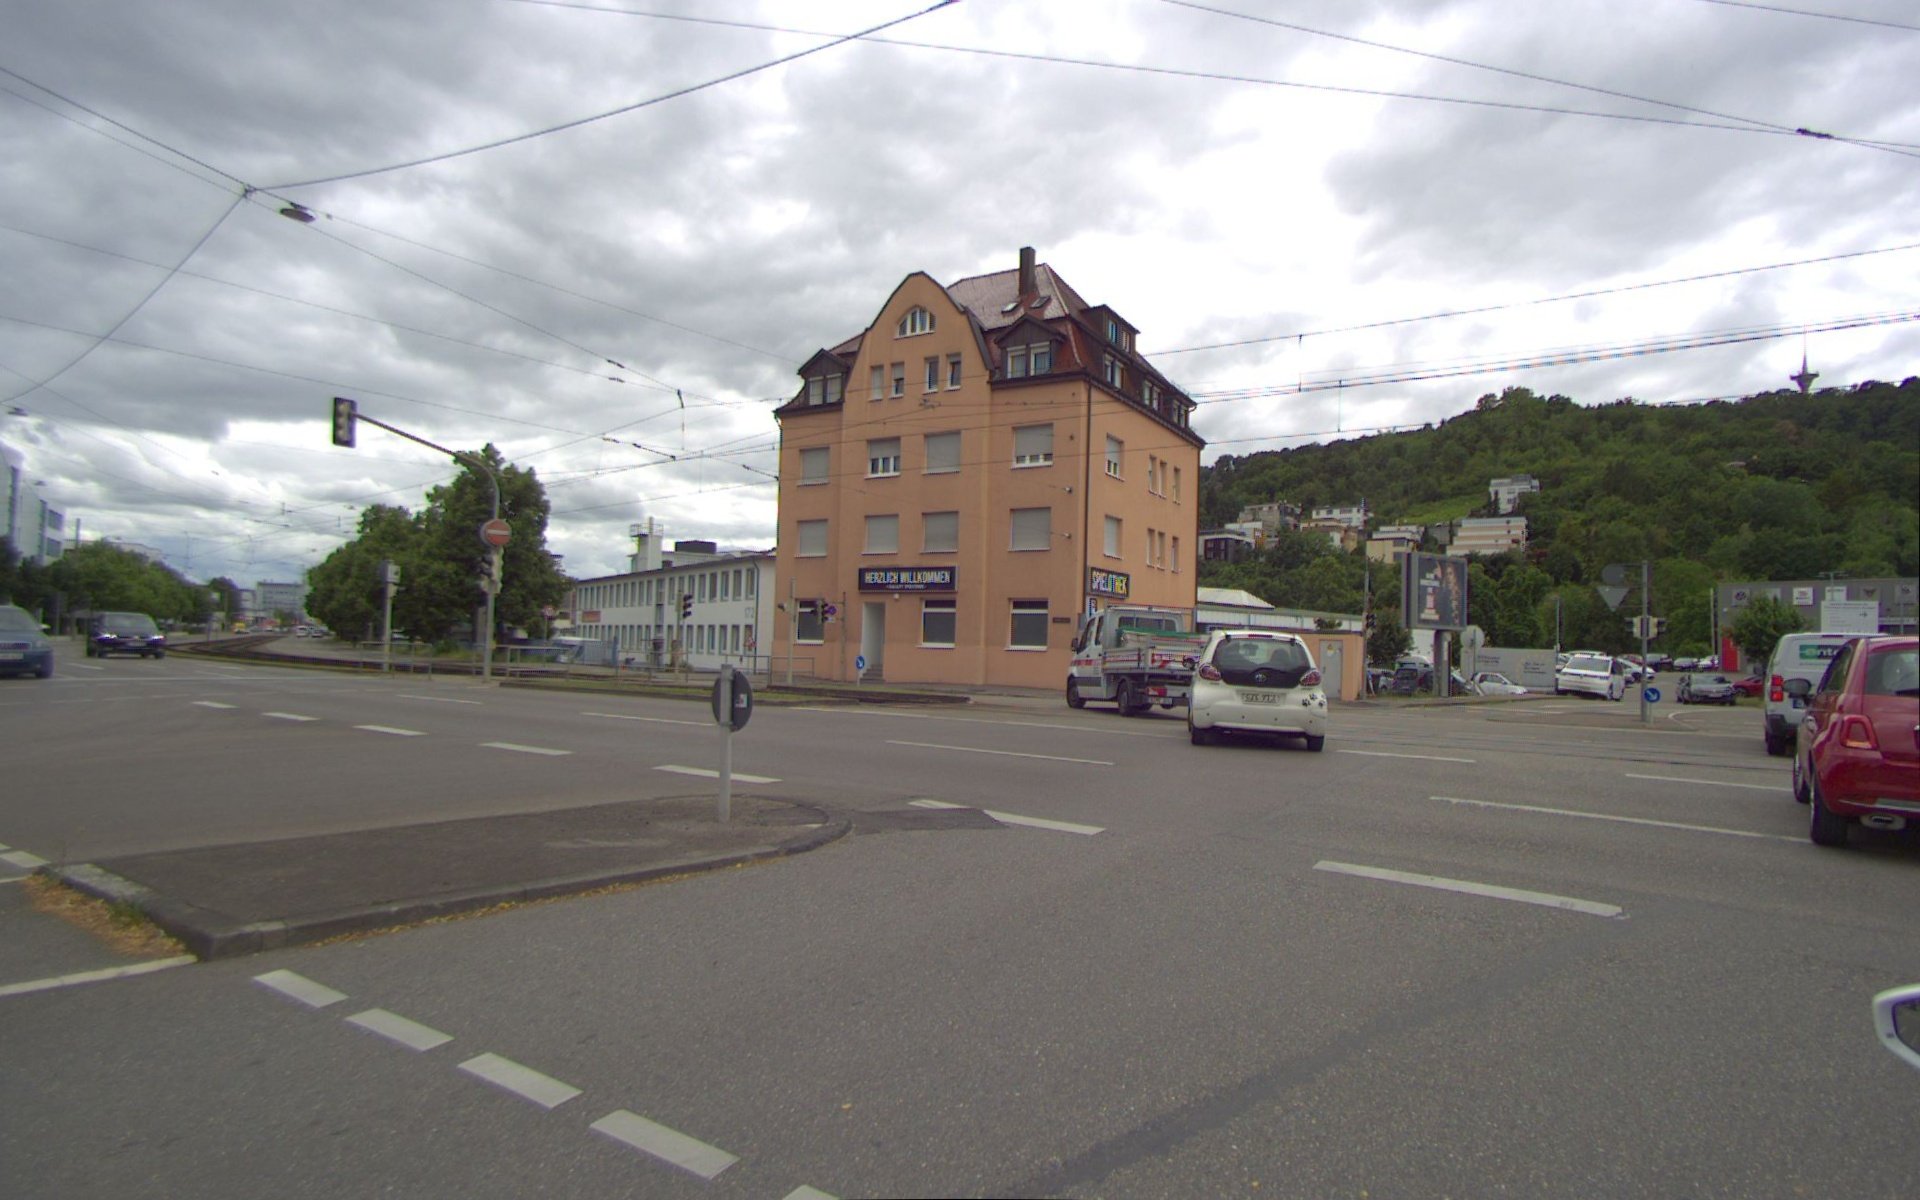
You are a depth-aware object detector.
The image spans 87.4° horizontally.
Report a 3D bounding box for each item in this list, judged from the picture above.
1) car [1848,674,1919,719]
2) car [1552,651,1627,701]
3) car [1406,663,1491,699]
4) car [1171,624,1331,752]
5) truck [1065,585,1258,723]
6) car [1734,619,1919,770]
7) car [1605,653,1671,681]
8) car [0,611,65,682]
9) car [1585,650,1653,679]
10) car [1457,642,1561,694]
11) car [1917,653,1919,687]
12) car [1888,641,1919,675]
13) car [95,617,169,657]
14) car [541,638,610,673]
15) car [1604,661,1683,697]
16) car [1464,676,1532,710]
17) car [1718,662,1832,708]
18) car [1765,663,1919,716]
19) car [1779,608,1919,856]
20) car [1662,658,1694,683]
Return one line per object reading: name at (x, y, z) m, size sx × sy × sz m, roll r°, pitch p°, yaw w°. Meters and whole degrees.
car at (44.419, 4.603, 46.992) m, size 1.837 × 1.817 × 3.958 m, roll 5°, pitch -1°, yaw -37°
car at (27.405, 3.309, 43.680) m, size 2.051 × 1.877 × 4.887 m, roll 4°, pitch -1°, yaw 40°
car at (22.945, 3.802, 47.318) m, size 3.502 × 1.505 × 1.603 m, roll 1°, pitch -2°, yaw 24°
car at (3.768, 1.105, 13.479) m, size 1.566 × 1.439 × 3.377 m, roll 2°, pitch -3°, yaw 8°
truck at (4.091, 1.184, 21.625) m, size 2.279 × 2.452 × 5.649 m, roll 3°, pitch -4°, yaw -8°
car at (14.532, 1.528, 16.955) m, size 1.972 × 2.067 × 4.818 m, roll 3°, pitch -2°, yaw 35°
car at (59.759, 5.878, 88.613) m, size 4.448 × 2.023 × 1.989 m, roll 4°, pitch -1°, yaw 44°
car at (-20.392, 0.937, 21.114) m, size 3.646 × 1.410 × 1.742 m, roll 0°, pitch -3°, yaw 39°
car at (55.504, 5.436, 84.643) m, size 4.448 × 2.023 × 1.989 m, roll 4°, pitch -1°, yaw 44°
car at (29.018, 3.562, 53.255) m, size 4.423 × 2.272 × 2.000 m, roll 5°, pitch -1°, yaw 21°
car at (54.782, 4.006, 54.411) m, size 1.837 × 1.817 × 3.958 m, roll 5°, pitch -1°, yaw -37°
car at (56.499, 3.488, 57.979) m, size 1.837 × 1.817 × 3.958 m, roll 5°, pitch -1°, yaw -37°
car at (-29.870, 1.334, 36.319) m, size 1.611 × 1.349 × 3.146 m, roll 3°, pitch -3°, yaw -32°
car at (-25.088, 3.567, 65.839) m, size 1.714 × 2.128 × 6.304 m, roll 1°, pitch -2°, yaw 4°
car at (48.298, 5.573, 71.038) m, size 4.439 × 2.023 × 1.993 m, roll 4°, pitch -1°, yaw 38°
car at (27.147, 4.668, 50.680) m, size 2.767 × 1.355 × 1.531 m, roll 4°, pitch -1°, yaw 36°
car at (44.497, 4.631, 54.903) m, size 1.984 × 2.023 × 4.458 m, roll 5°, pitch -1°, yaw -40°
car at (37.665, 3.797, 42.743) m, size 1.981 × 2.039 × 4.970 m, roll 5°, pitch -5°, yaw -34°
car at (7.556, 0.957, 7.811) m, size 1.676 × 1.545 × 3.984 m, roll 4°, pitch 0°, yaw 38°
car at (67.333, 6.640, 94.151) m, size 1.970 × 2.023 × 4.489 m, roll 4°, pitch -1°, yaw 41°
